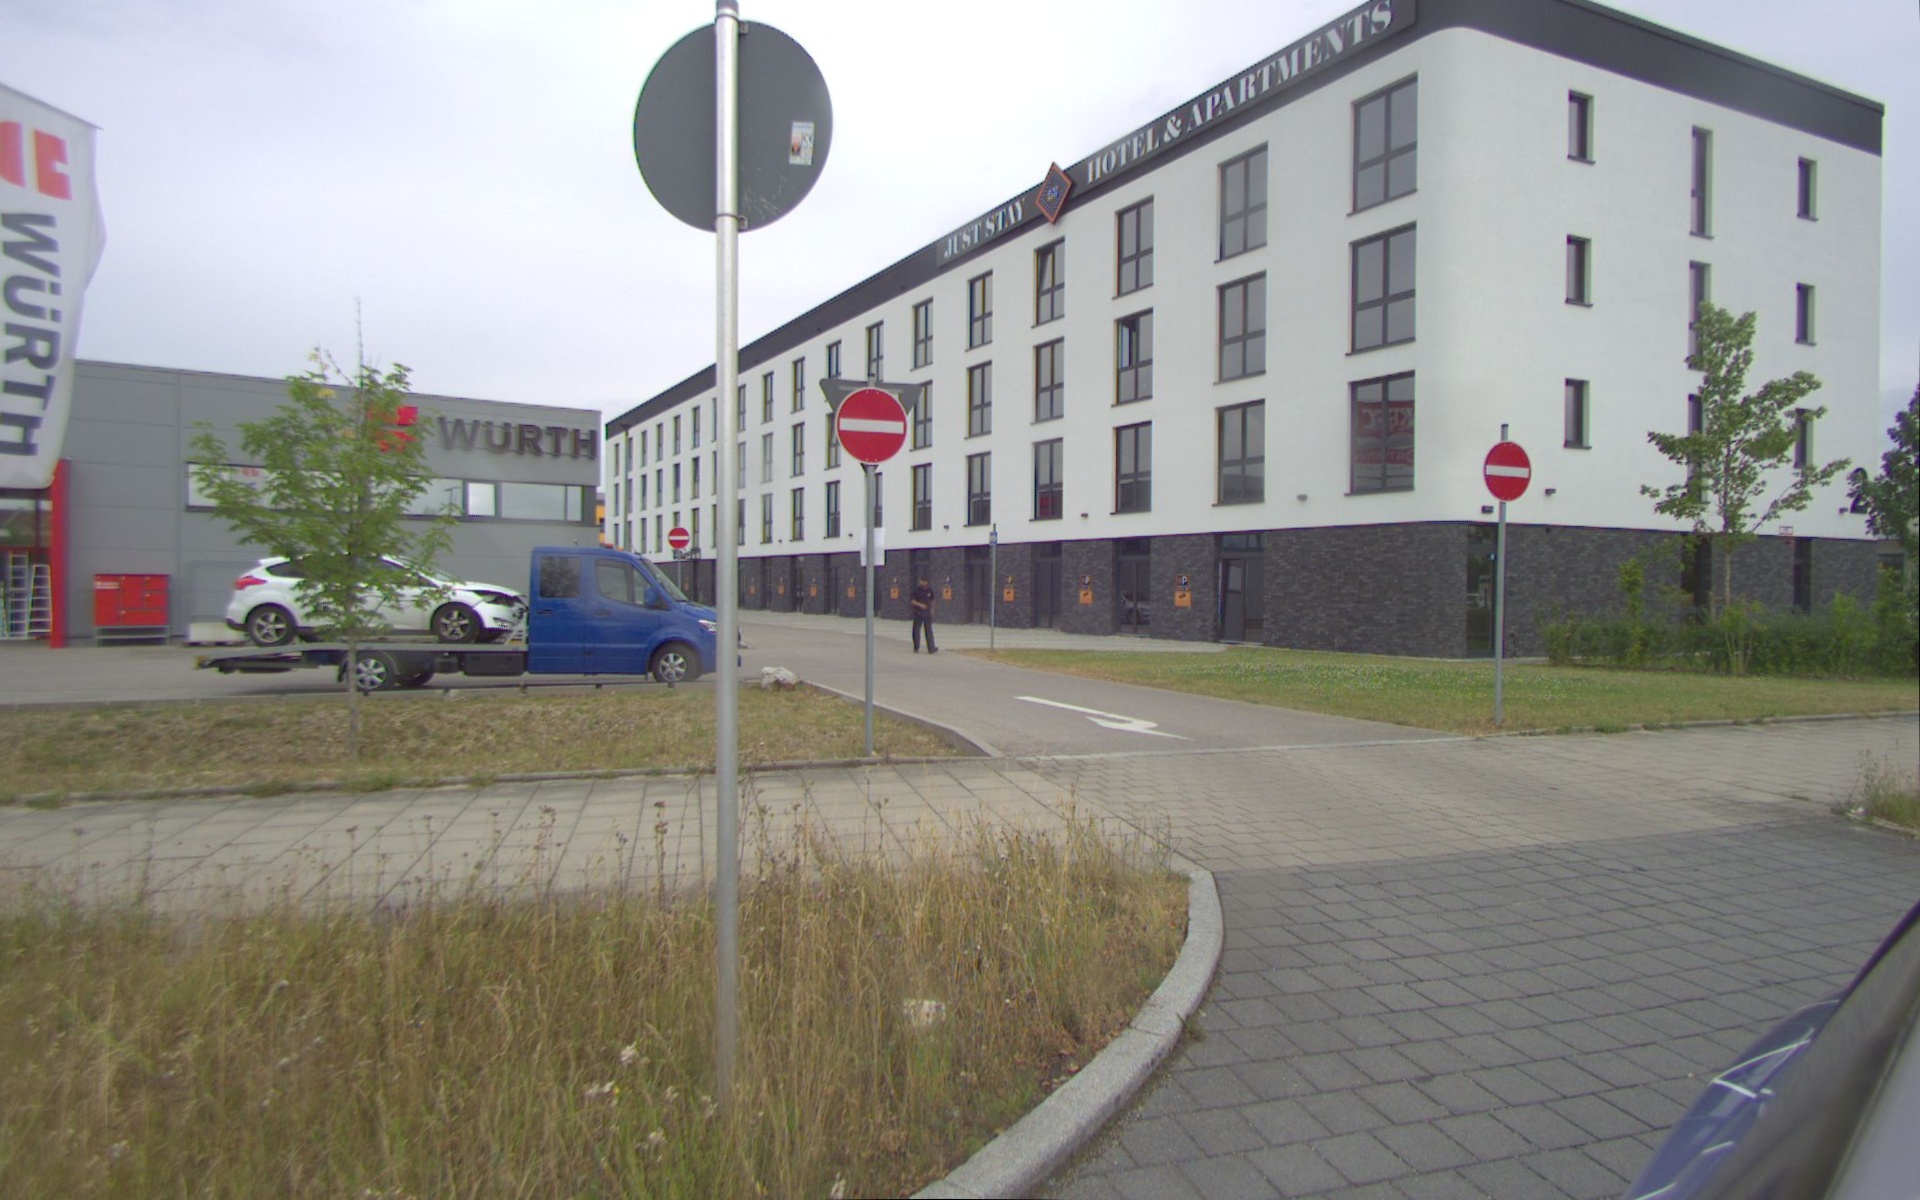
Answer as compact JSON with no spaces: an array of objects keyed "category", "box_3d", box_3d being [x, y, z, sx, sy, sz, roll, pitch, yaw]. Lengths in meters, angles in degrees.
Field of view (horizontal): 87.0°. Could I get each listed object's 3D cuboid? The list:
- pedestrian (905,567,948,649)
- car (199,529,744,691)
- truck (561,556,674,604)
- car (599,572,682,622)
[{"category":"pedestrian","box_3d":[-0.778,0.172,23.356,0.695,1.845,0.814,-1,1,-27]},{"category":"car","box_3d":[-7.485,0.090,16.501,7.694,2.351,2.205,0,1,-10]},{"category":"truck","box_3d":[-22.405,-1.338,66.222,6.977,3.053,2.423,0,2,19]},{"category":"car","box_3d":[-10.588,-0.146,33.329,1.940,1.510,4.779,1,1,-26]}]
